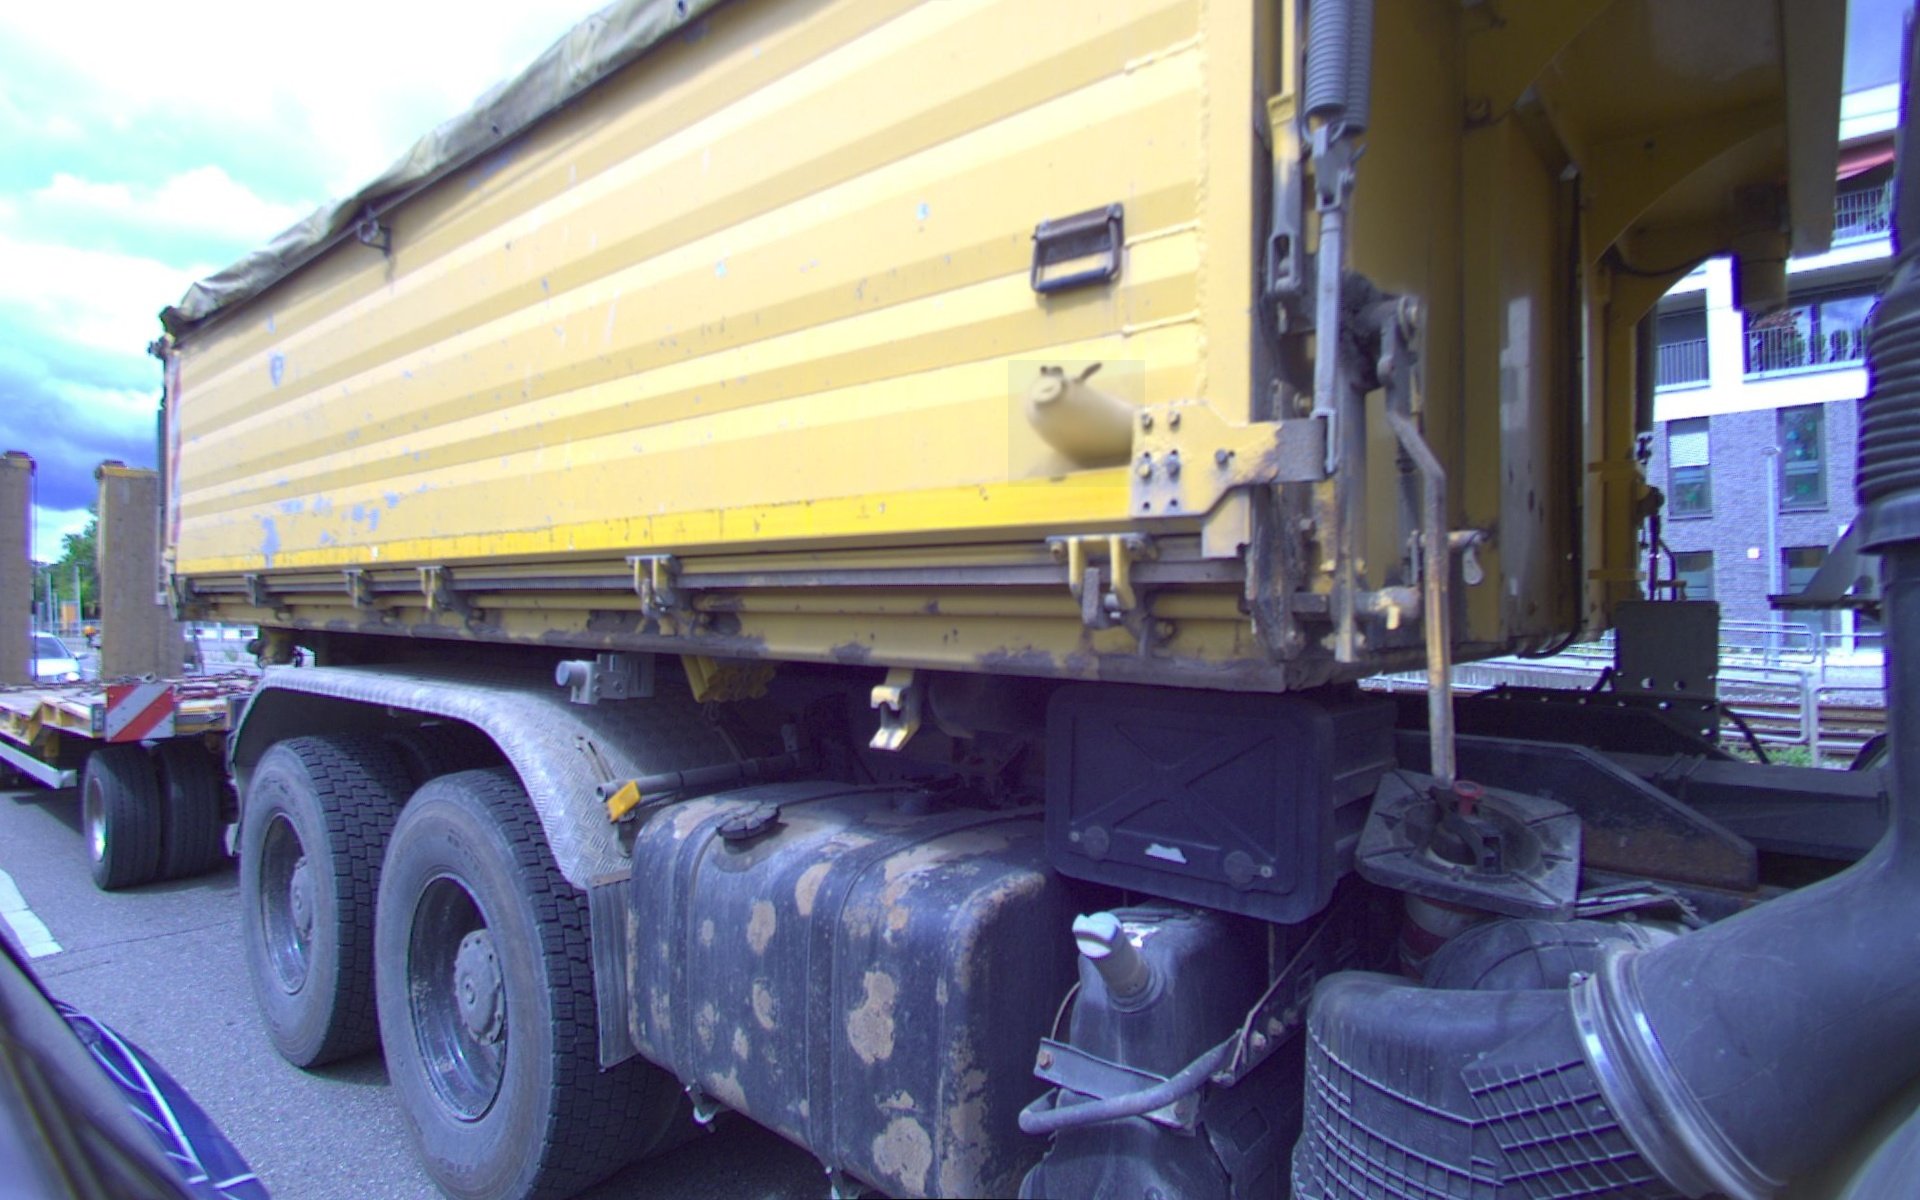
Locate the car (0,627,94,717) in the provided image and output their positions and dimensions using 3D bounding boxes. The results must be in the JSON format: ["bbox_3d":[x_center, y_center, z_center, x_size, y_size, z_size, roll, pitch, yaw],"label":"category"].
[{"bbox_3d":[-16.721,1.223,17.798,3.784,1.427,1.761,-2,-1,41],"label":"car"}]

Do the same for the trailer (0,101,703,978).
[{"bbox_3d":[-6.850,-0.137,9.005,10.957,3.726,3.018,-2,-1,40],"label":"trailer"}]

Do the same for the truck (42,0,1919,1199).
[{"bbox_3d":[0.138,-0.221,2.870,7.999,3.420,3.019,-2,-1,40],"label":"truck"}]
